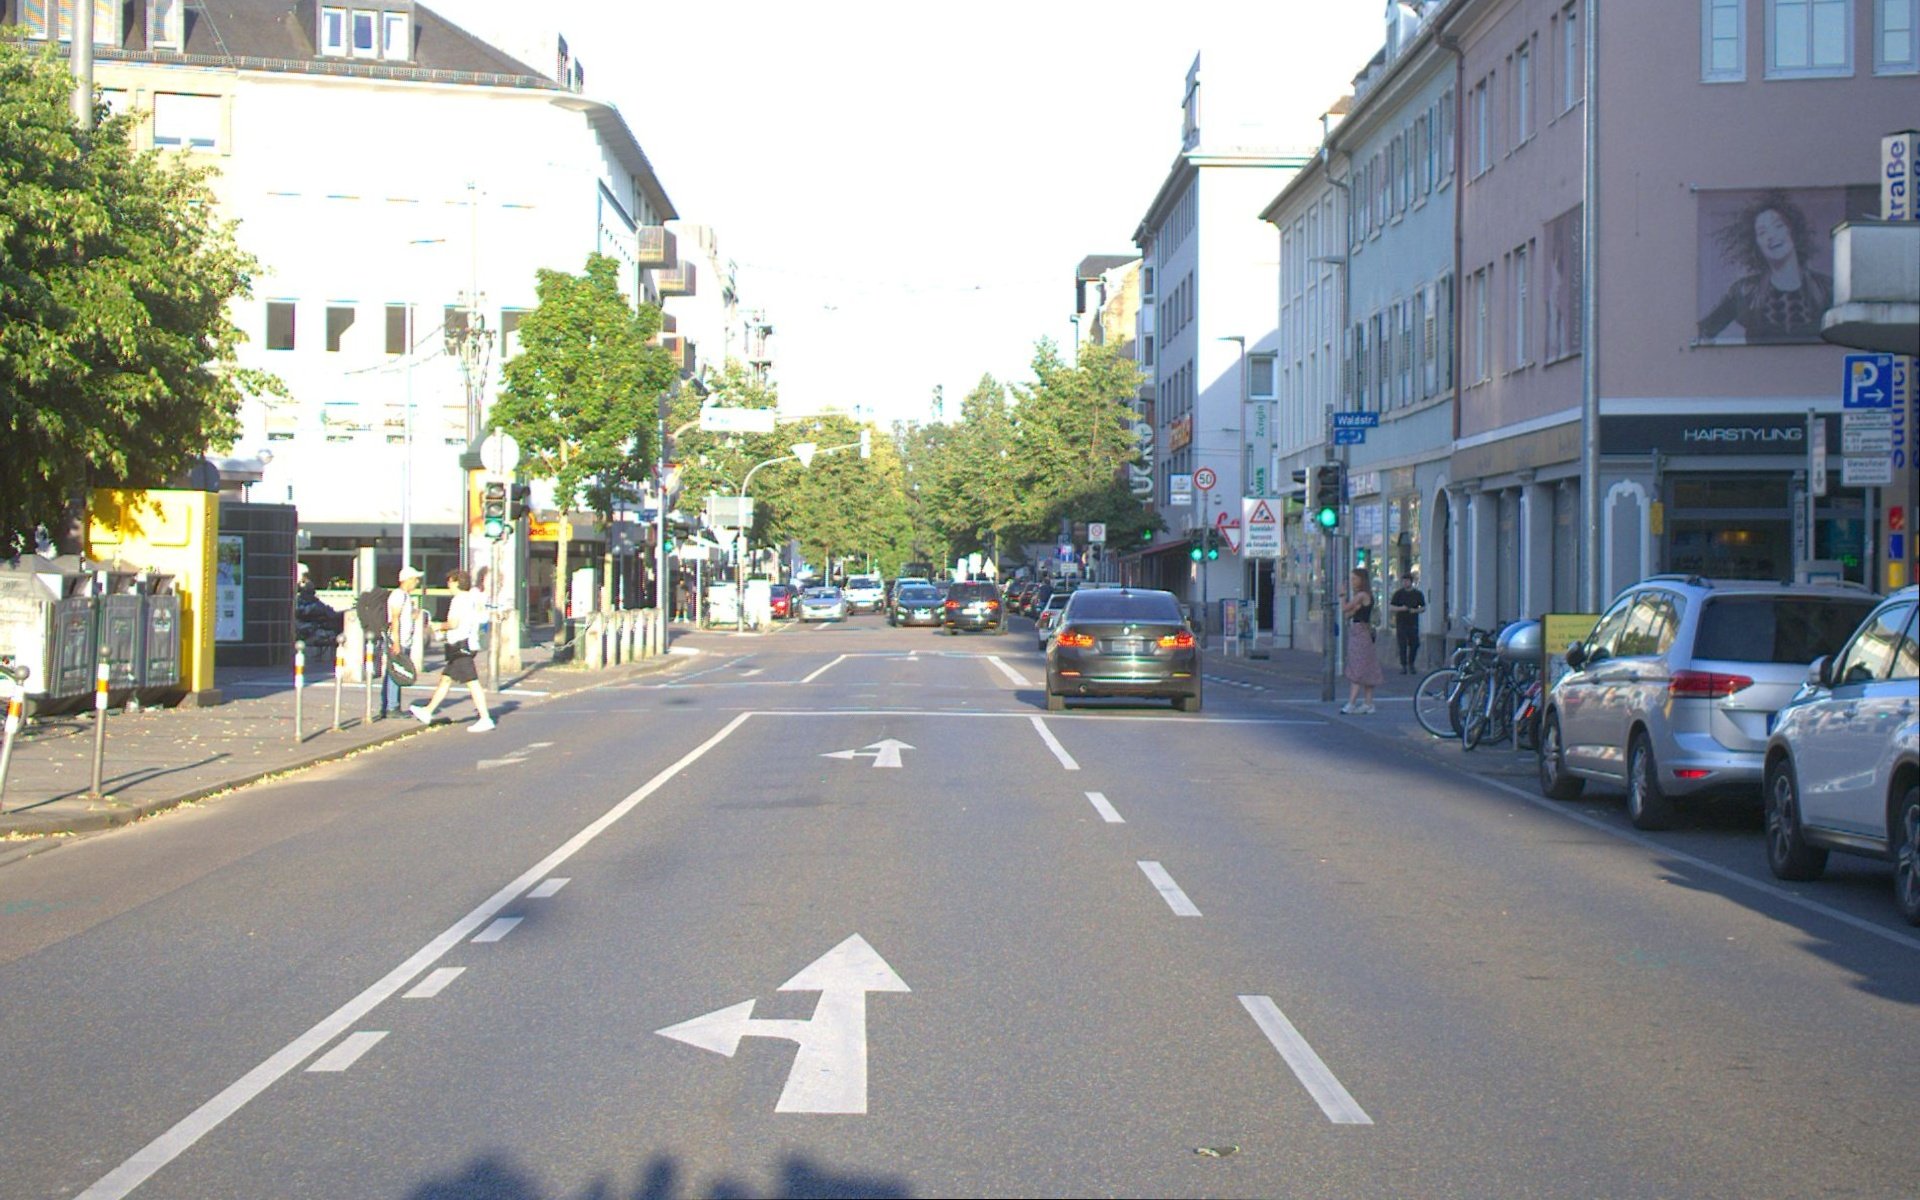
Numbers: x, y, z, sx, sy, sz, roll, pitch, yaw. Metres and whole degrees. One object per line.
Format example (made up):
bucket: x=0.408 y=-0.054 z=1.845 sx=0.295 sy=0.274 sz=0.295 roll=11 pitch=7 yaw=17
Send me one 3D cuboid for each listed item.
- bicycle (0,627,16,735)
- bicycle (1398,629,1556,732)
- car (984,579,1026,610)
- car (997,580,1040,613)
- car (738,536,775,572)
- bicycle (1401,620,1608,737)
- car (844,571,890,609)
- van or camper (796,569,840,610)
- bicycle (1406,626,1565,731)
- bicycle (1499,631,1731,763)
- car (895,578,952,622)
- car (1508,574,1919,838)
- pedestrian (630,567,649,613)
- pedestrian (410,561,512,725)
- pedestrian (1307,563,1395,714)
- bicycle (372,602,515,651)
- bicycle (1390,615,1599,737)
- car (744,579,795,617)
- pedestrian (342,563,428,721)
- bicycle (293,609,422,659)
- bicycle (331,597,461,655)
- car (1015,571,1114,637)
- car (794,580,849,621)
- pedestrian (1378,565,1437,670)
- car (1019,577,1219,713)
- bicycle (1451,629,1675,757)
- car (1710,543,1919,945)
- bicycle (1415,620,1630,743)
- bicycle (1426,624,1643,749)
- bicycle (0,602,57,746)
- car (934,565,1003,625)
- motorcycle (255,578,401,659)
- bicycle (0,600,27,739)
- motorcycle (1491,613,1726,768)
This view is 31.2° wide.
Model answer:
bicycle: x=-9.754 y=0.695 z=31.420 sx=2.043 sy=0.967 sz=0.636 roll=3 pitch=0 yaw=-2
bicycle: x=5.280 y=0.822 z=35.145 sx=1.500 sy=1.012 sz=0.512 roll=1 pitch=0 yaw=-3
car: x=2.366 y=-0.305 z=181.166 sx=1.894 sy=1.590 sz=4.001 roll=1 pitch=0 yaw=-3
car: x=2.846 y=-0.185 z=168.156 sx=1.780 sy=1.590 sz=3.635 roll=1 pitch=0 yaw=-3
car: x=-11.605 y=-2.590 z=196.381 sx=1.828 sy=2.007 sz=3.676 roll=1 pitch=0 yaw=1
bicycle: x=5.382 y=0.771 z=34.054 sx=1.884 sy=1.109 sz=0.762 roll=1 pitch=0 yaw=-3
car: x=-4.453 y=-0.474 z=164.370 sx=1.993 sy=1.744 sz=4.000 roll=1 pitch=0 yaw=1
van or camper: x=-8.576 y=-0.665 z=207.241 sx=2.472 sy=2.397 sz=4.001 roll=1 pitch=0 yaw=-4
bicycle: x=5.290 y=0.785 z=34.656 sx=1.500 sy=1.022 sz=0.512 roll=-1 pitch=0 yaw=-4
bicycle: x=5.668 y=0.833 z=29.800 sx=1.884 sy=1.108 sz=0.593 roll=0 pitch=1 yaw=-3
car: x=-1.285 y=-0.013 z=121.890 sx=1.885 sy=1.481 sz=4.000 roll=1 pitch=0 yaw=1
car: x=5.207 y=0.643 z=23.535 sx=1.993 sy=1.607 sz=4.804 roll=1 pitch=0 yaw=-2
pedestrian: x=-11.947 y=-0.375 z=128.193 sx=0.600 sy=1.715 sz=0.578 roll=1 pitch=0 yaw=-14
pedestrian: x=-5.324 y=0.454 z=36.646 sx=0.868 sy=1.715 sz=0.760 roll=1 pitch=0 yaw=-25
pedestrian: x=4.487 y=0.435 z=39.493 sx=0.794 sy=1.715 sz=0.812 roll=1 pitch=0 yaw=-7
bicycle: x=-11.135 y=0.561 z=74.199 sx=2.942 sy=1.019 sz=0.843 roll=0 pitch=0 yaw=2
bicycle: x=5.161 y=0.731 z=33.245 sx=1.884 sy=1.163 sz=0.723 roll=0 pitch=0 yaw=-3
car: x=-8.248 y=-0.104 z=149.342 sx=1.894 sy=1.590 sz=4.000 roll=1 pitch=0 yaw=1
pedestrian: x=-6.358 y=0.459 z=38.009 sx=0.881 sy=1.715 sz=0.715 roll=1 pitch=0 yaw=-11
bicycle: x=-11.390 y=0.636 z=65.055 sx=2.327 sy=0.916 sz=0.701 roll=0 pitch=0 yaw=-2
bicycle: x=-11.450 y=0.524 z=69.845 sx=2.523 sy=1.142 sz=0.701 roll=0 pitch=0 yaw=-2
car: x=2.612 y=0.083 z=86.946 sx=2.334 sy=1.598 sz=3.894 roll=1 pitch=0 yaw=0
car: x=-5.494 y=0.001 z=136.827 sx=1.894 sy=1.590 sz=4.000 roll=1 pitch=0 yaw=1
pedestrian: x=7.632 y=0.288 z=58.639 sx=0.757 sy=1.771 sz=1.048 roll=1 pitch=0 yaw=-5
car: x=1.811 y=0.489 z=40.422 sx=1.888 sy=1.487 sz=4.205 roll=1 pitch=0 yaw=-3
bicycle: x=5.415 y=0.833 z=30.918 sx=1.884 sy=1.109 sz=0.593 roll=1 pitch=-1 yaw=-3
car: x=5.245 y=0.629 z=17.375 sx=1.867 sy=1.756 sz=4.409 roll=1 pitch=2 yaw=-1
bicycle: x=5.274 y=0.759 z=32.292 sx=1.884 sy=1.109 sz=0.602 roll=1 pitch=0 yaw=-3
bicycle: x=5.299 y=0.793 z=31.752 sx=1.884 sy=1.109 sz=0.521 roll=1 pitch=0 yaw=-3
bicycle: x=-9.223 y=0.612 z=30.151 sx=2.431 sy=1.233 sz=0.518 roll=2 pitch=0 yaw=-2
car: x=0.253 y=-0.159 z=102.927 sx=1.993 sy=1.744 sz=4.000 roll=1 pitch=0 yaw=0
motorcycle: x=-11.366 y=0.334 z=61.901 sx=2.413 sy=1.421 sz=1.113 roll=0 pitch=0 yaw=-1
bicycle: x=-9.656 y=0.602 z=30.833 sx=2.431 sy=1.233 sz=0.462 roll=1 pitch=0 yaw=-2
motorcycle: x=5.445 y=0.749 z=28.906 sx=1.812 sy=1.259 sz=0.716 roll=-1 pitch=0 yaw=-3
